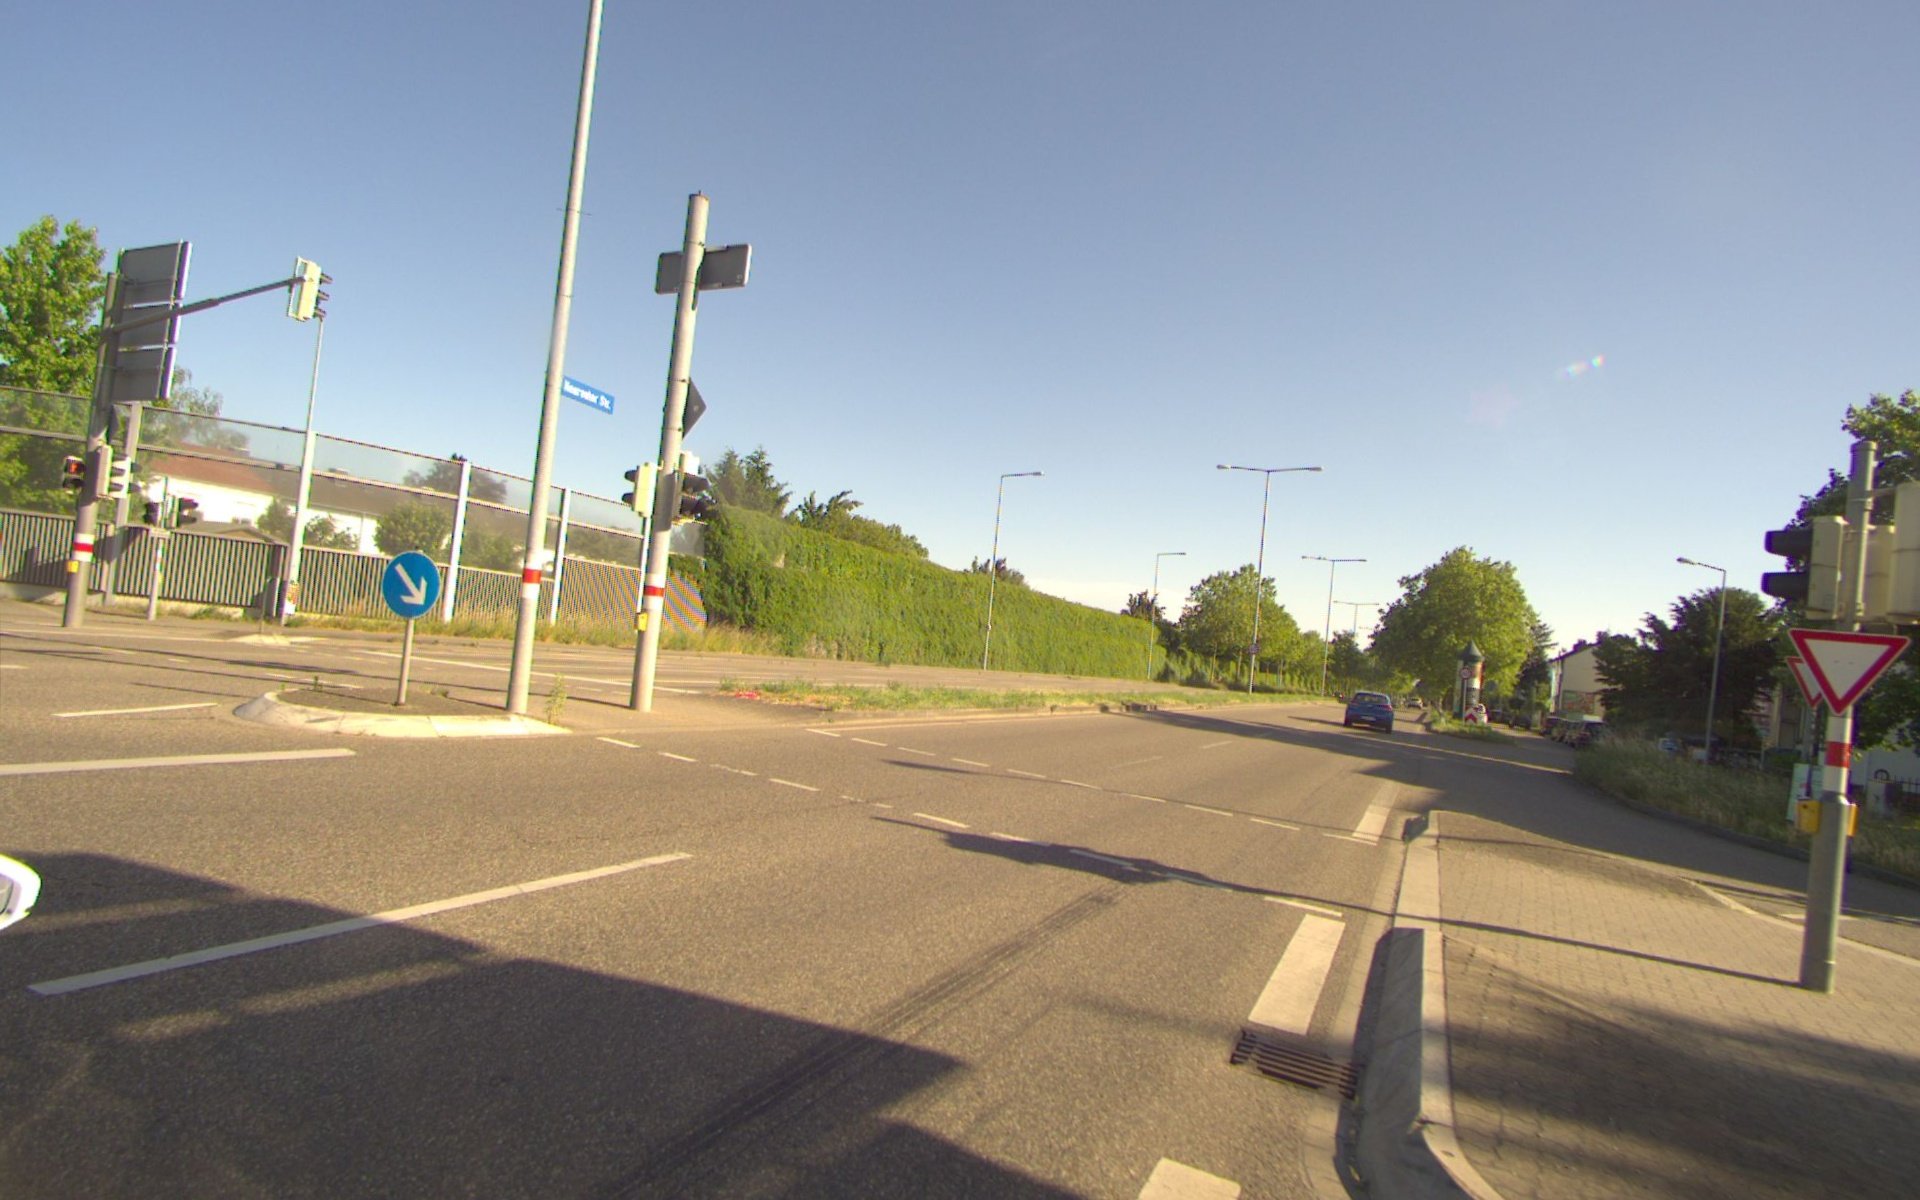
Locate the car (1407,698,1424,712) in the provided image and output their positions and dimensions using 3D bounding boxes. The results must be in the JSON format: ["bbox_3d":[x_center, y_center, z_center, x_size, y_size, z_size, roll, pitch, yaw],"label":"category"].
[{"bbox_3d":[61.792,14.214,136.505,1.826,1.610,3.999,6,-2,26],"label":"car"}]

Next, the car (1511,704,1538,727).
[{"bbox_3d":[55.999,11.481,99.893,1.764,1.976,4.004,6,-4,24],"label":"car"}]

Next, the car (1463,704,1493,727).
[{"bbox_3d":[37.720,8.393,73.286,1.703,1.450,3.999,6,-2,26],"label":"car"}]

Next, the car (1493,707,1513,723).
[{"bbox_3d":[66.297,14.007,122.823,1.826,1.610,3.999,6,-2,26],"label":"car"}]

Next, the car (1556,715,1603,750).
[{"bbox_3d":[38.714,8.272,62.967,1.965,1.837,4.002,6,-4,26],"label":"car"}]

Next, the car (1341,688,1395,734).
[{"bbox_3d":[15.846,4.246,38.945,1.706,1.457,3.794,7,-2,24],"label":"car"}]

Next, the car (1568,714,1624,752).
[{"bbox_3d":[34.159,7.138,54.123,1.965,1.636,3.999,6,-2,26],"label":"car"}]

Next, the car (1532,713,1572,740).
[{"bbox_3d":[42.345,9.079,72.048,1.965,1.608,4.002,6,-4,26],"label":"car"}]

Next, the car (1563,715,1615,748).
[{"bbox_3d":[36.566,7.654,58.561,1.965,1.613,4.002,6,-4,26],"label":"car"}]
